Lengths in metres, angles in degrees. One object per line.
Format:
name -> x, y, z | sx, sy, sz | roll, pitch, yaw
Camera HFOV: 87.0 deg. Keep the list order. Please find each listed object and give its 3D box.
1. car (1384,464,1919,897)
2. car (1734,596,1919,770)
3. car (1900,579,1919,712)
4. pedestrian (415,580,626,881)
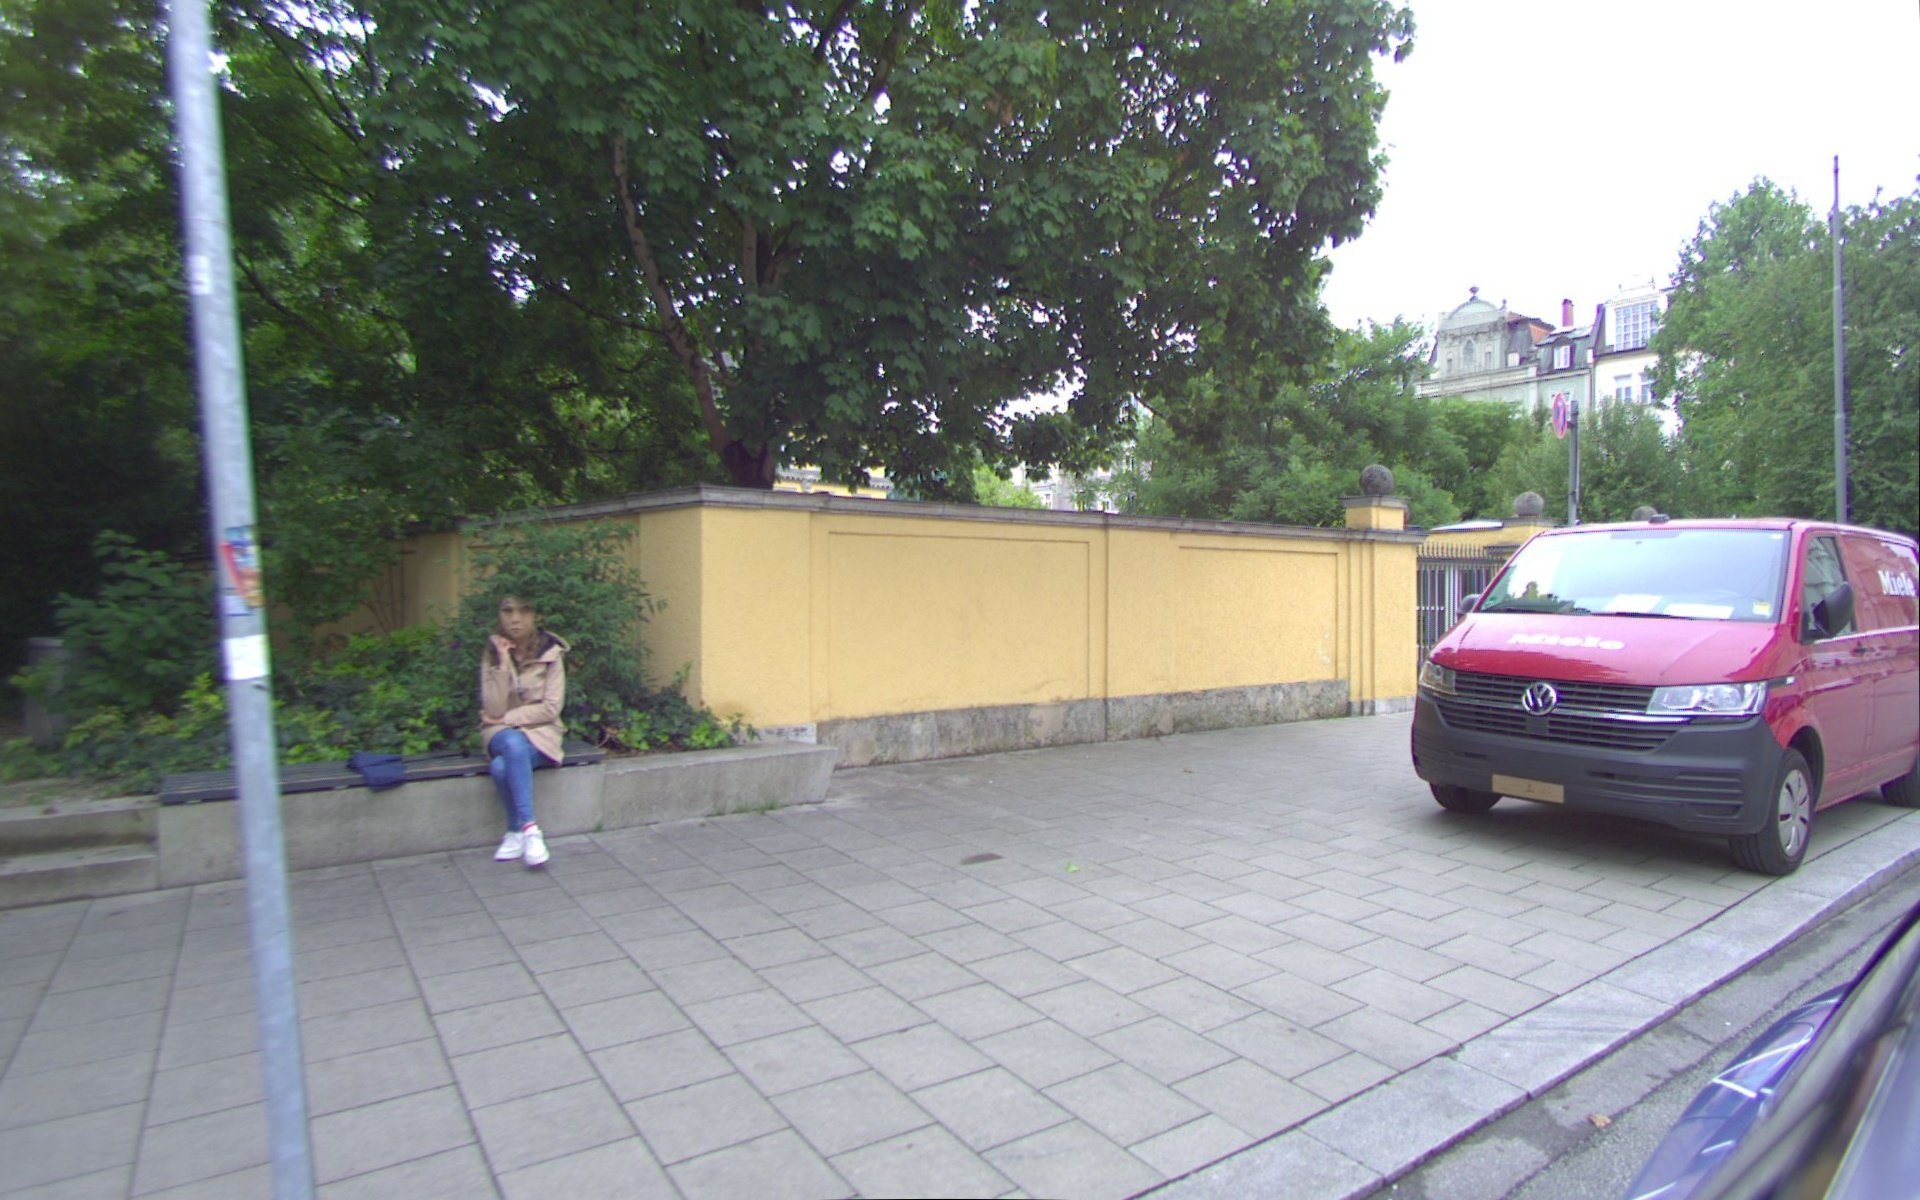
car -> 5.053, 0.354, 6.734 | 4.796, 1.945, 1.879 | -1, -1, -36
car -> 9.570, 0.691, 10.091 | 4.289, 1.467, 1.888 | -1, -2, -38
car -> 14.450, 0.533, 13.552 | 4.735, 1.674, 1.889 | -1, -2, -37
pedestrian -> -2.289, 0.580, 5.220 | 0.859, 1.355, 1.013 | 0, 0, -32
